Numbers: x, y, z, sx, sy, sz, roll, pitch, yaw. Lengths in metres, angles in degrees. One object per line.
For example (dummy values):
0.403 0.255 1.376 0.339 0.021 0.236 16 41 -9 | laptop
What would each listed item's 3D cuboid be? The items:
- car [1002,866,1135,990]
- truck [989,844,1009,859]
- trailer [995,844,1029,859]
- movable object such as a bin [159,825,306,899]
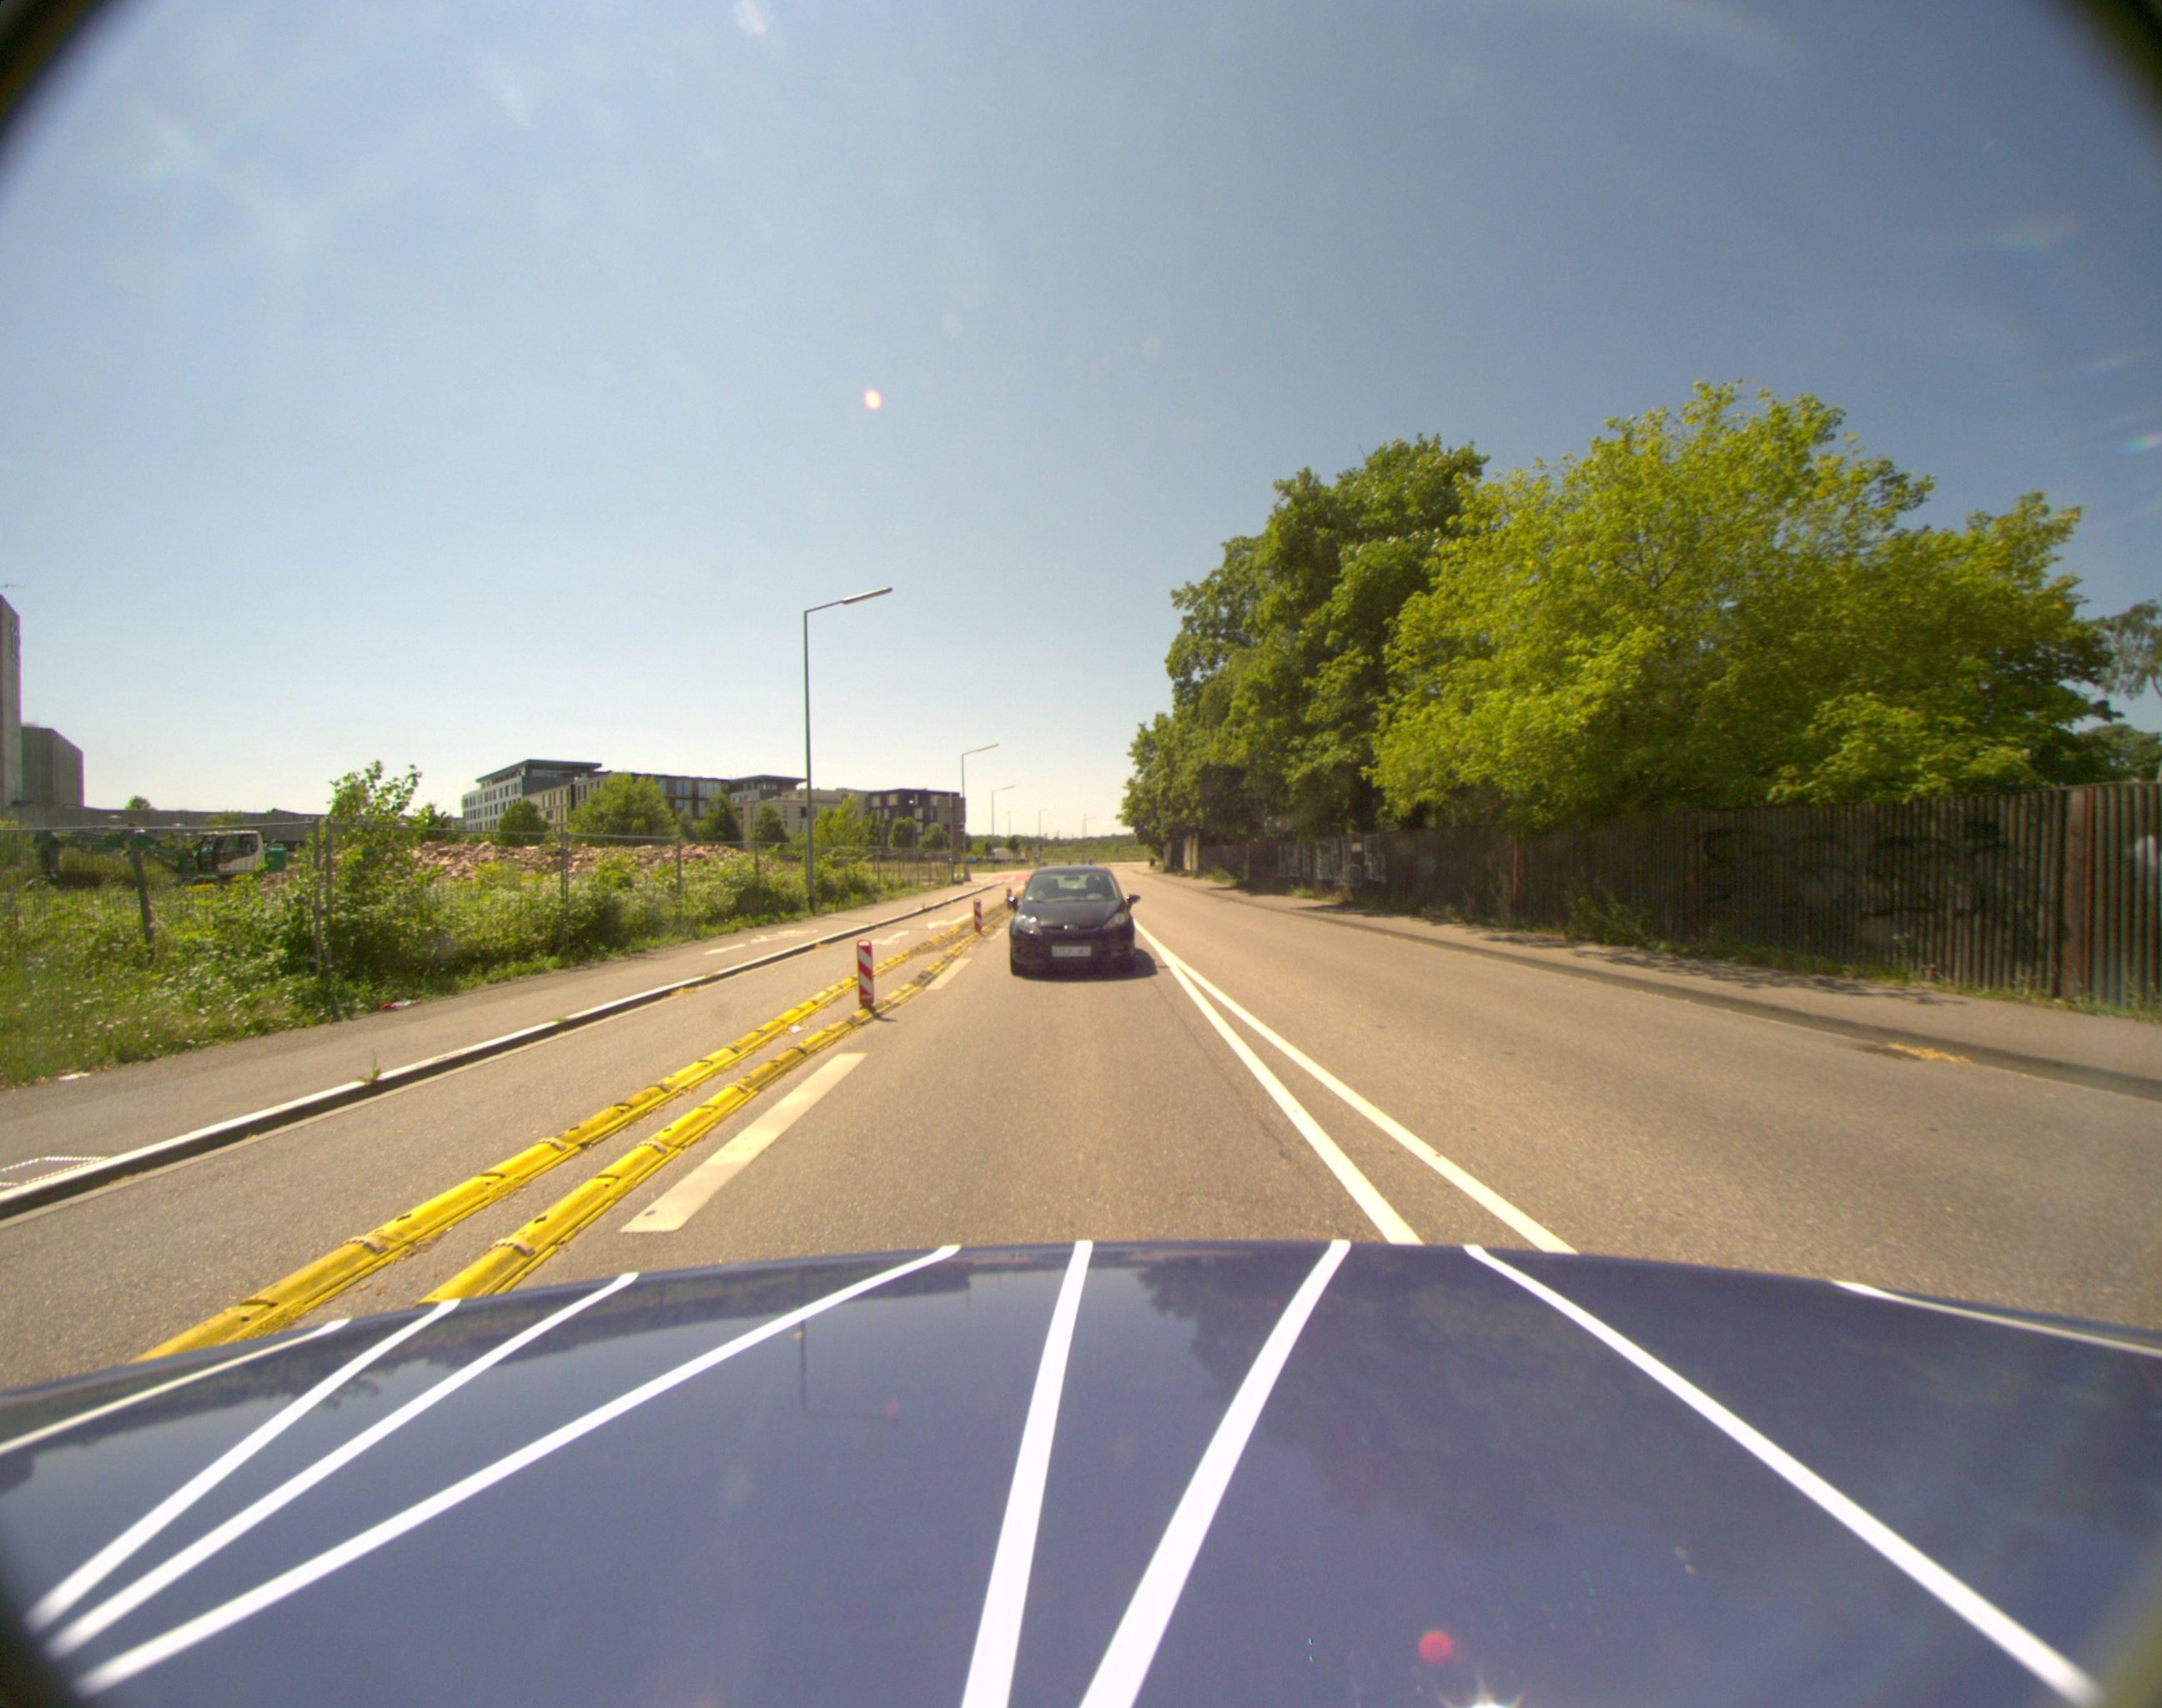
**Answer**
-0.133 0.947 11.392 1.602 1.422 4.000 -2 0 0 | car
-18.210 -0.632 167.904 4.008 3.316 1.994 -1 1 -45 | truck
-15.458 -0.641 170.648 8.193 3.329 1.994 -1 0 -45 | trailer
-37.734 0.318 33.952 2.205 3.045 3.690 -2 1 6 | movable object such as a bin
